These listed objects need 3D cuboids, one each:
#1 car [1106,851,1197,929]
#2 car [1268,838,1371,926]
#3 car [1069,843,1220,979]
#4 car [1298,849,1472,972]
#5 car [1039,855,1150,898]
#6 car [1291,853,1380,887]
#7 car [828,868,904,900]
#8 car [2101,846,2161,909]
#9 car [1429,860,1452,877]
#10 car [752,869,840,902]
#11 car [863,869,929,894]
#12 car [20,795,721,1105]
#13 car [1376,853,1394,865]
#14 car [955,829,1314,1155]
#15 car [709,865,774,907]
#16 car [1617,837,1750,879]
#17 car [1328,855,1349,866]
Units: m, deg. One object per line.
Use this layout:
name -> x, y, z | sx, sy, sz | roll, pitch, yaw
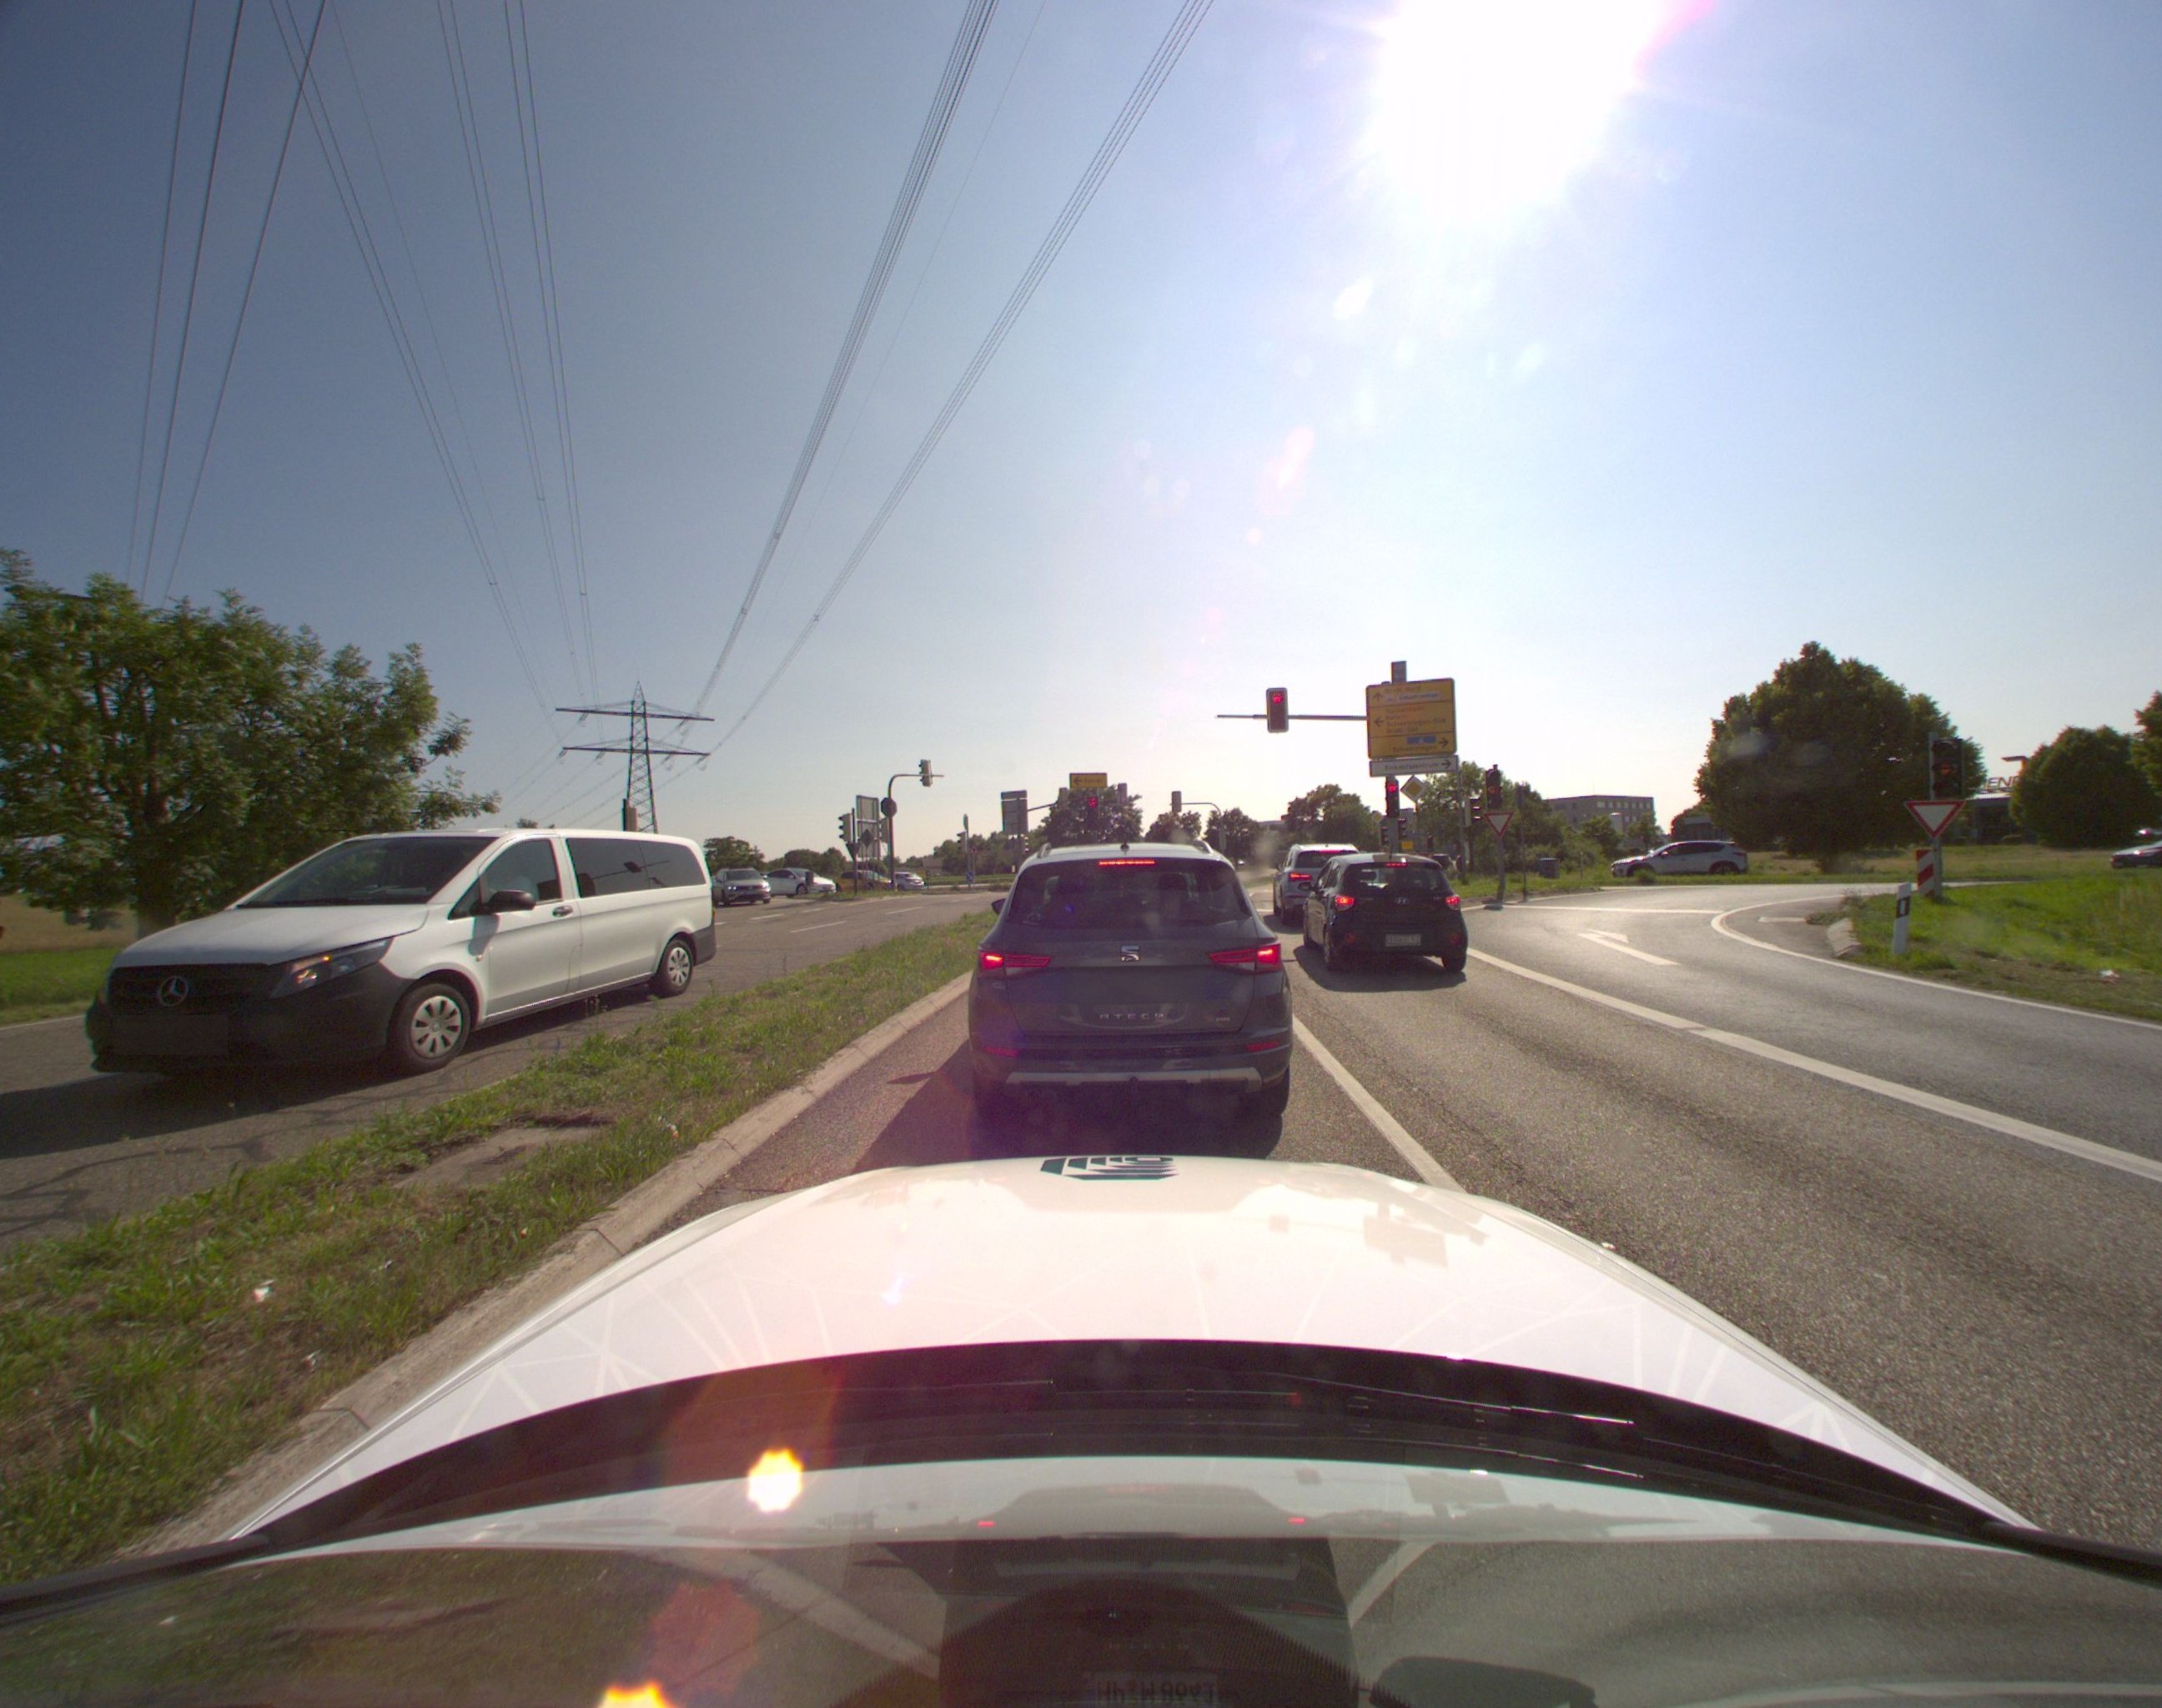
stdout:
car -> 1.571, 0.705, 17.346 | 1.732, 1.484, 3.631 | 0, -1, 7
car -> 5.015, 0.551, 17.561 | 1.623, 1.677, 3.758 | -1, 0, 9
car -> 0.821, 0.679, 11.238 | 1.735, 1.569, 3.626 | 0, -1, 3
car -> 4.047, 0.675, 11.350 | 1.623, 1.448, 3.303 | -1, 0, 9
car -> 0.547, 0.831, 31.122 | 3.926, 1.465, 1.706 | -1, -1, -32
car -> 12.234, 0.775, 39.182 | 3.832, 1.519, 1.818 | -2, -1, 25
car -> -12.126, 1.687, 45.971 | 3.949, 1.651, 1.831 | -2, -1, 29
car -> 35.578, 0.708, 25.607 | 3.968, 1.953, 1.707 | -2, -1, 32
car -> 35.832, 1.454, 81.076 | 1.859, 1.673, 3.792 | 0, -1, 27
car -> -15.460, 1.704, 44.105 | 4.700, 1.651, 1.831 | -1, -1, 29
car -> -11.887, 1.762, 52.338 | 3.831, 1.519, 1.818 | -2, -1, 27
car -> -5.548, 0.592, 7.561 | 1.985, 1.918, 4.951 | -1, 0, 3
car -> 46.305, 0.763, 124.066 | 1.859, 1.673, 3.793 | 0, -1, 31
car -> 0.312, 0.684, 5.760 | 1.735, 1.569, 3.625 | 0, -1, 2
car -> -14.598, 1.340, 34.899 | 1.827, 1.651, 3.958 | -1, -1, -34
car -> 24.019, 0.167, 32.645 | 3.986, 1.519, 1.818 | -2, -1, 27
car -> 34.945, 0.891, 110.424 | 1.695, 1.549, 3.634 | 0, -1, 37
